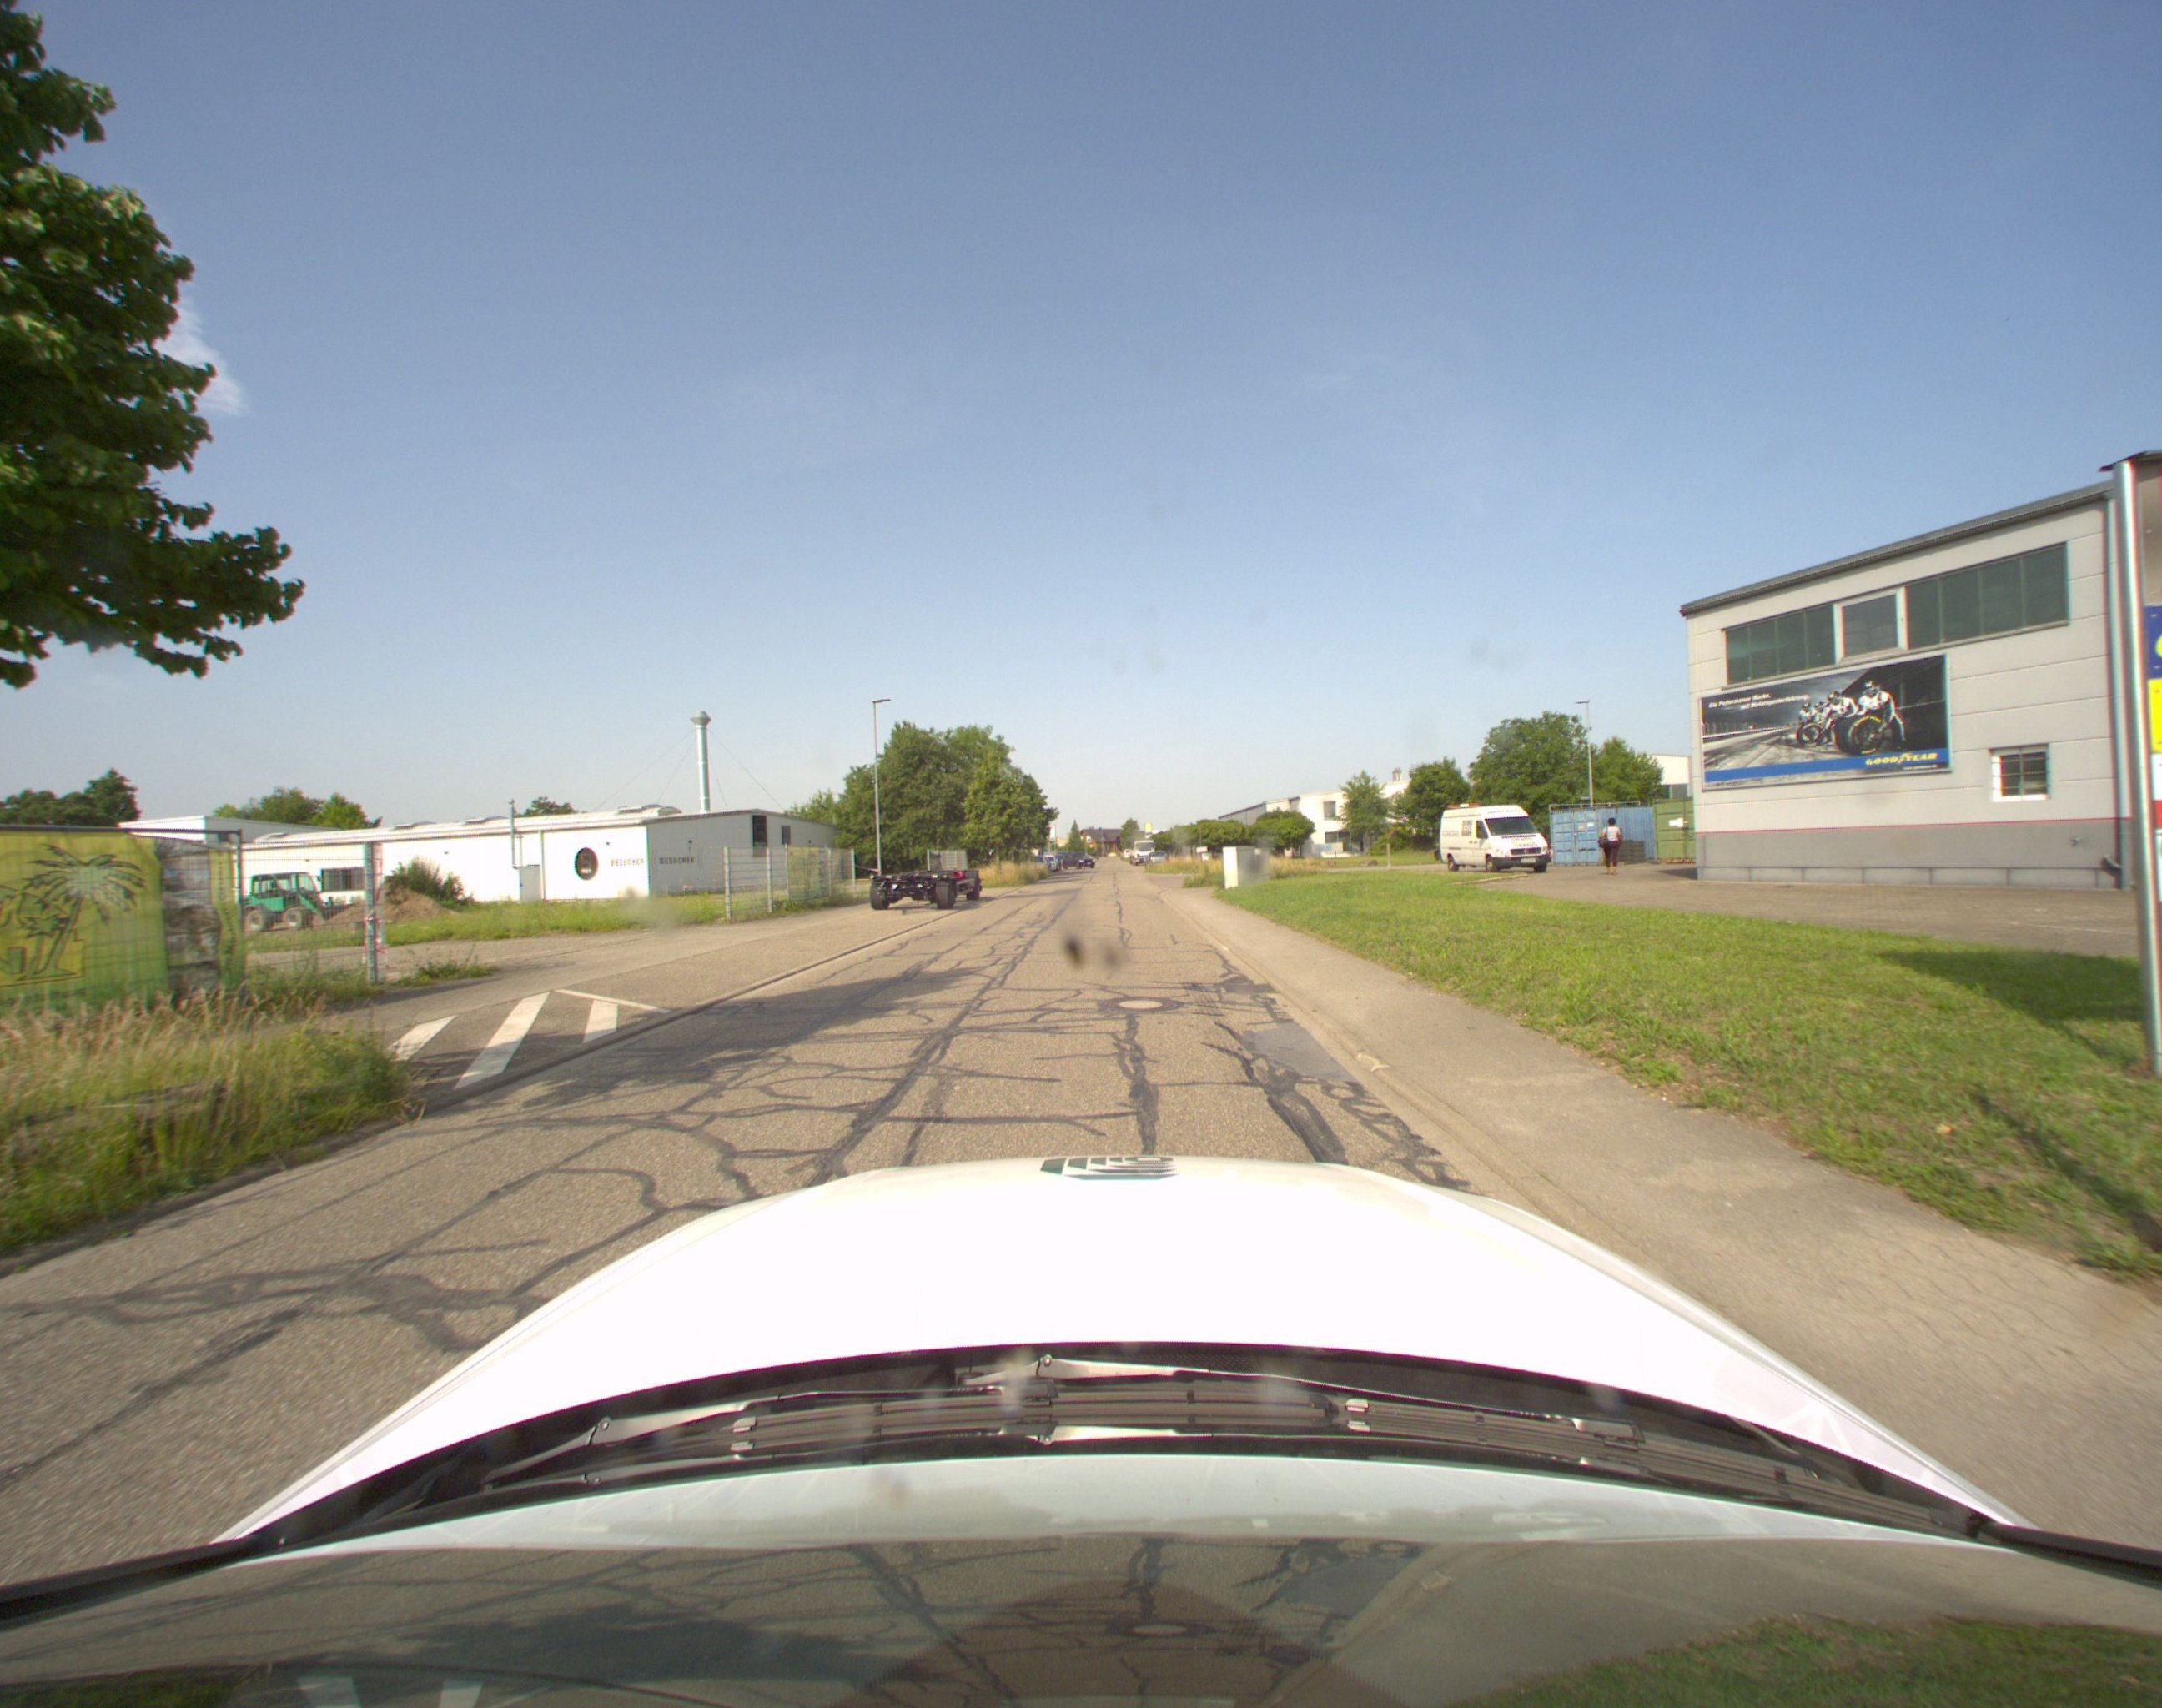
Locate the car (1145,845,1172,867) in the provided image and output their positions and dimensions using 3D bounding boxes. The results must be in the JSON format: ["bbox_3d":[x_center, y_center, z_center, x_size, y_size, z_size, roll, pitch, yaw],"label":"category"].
[{"bbox_3d":[5.996,0.149,63.398,1.787,1.517,4.426,-2,0,2],"label":"car"}]

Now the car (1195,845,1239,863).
[{"bbox_3d":[11.995,-0.022,71.759,3.716,1.380,1.668,-3,0,-38],"label":"car"}]

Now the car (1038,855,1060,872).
[{"bbox_3d":[-2.901,0.816,74.230,1.677,1.469,4.256,-1,0,2],"label":"car"}]

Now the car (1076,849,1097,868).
[{"bbox_3d":[0.595,0.444,83.876,1.848,1.714,4.230,-4,0,3],"label":"car"}]

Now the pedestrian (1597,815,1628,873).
[{"bbox_3d":[15.496,-0.285,23.755,0.695,1.640,0.754,-3,0,33],"label":"pedestrian"}]

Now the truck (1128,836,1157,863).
[{"bbox_3d":[6.514,-0.443,87.011,2.353,2.681,6.507,-2,0,-1],"label":"truck"}]

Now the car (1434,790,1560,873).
[{"bbox_3d":[15.337,-0.778,30.476,1.965,2.705,5.887,-3,0,4],"label":"car"}]

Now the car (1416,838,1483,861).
[{"bbox_3d":[25.205,-0.295,55.854,1.785,1.409,4.324,-3,0,-15],"label":"car"}]

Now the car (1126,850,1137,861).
[{"bbox_3d":[9.273,0.214,149.247,1.830,1.924,3.758,-3,0,2],"label":"car"}]

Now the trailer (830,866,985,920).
[{"bbox_3d":[-5.035,1.090,25.723,2.573,1.184,9.367,-1,0,2],"label":"trailer"}]

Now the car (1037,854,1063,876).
[{"bbox_3d":[-2.444,0.850,64.379,1.559,1.538,3.693,-2,0,5],"label":"car"}]

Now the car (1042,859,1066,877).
[{"bbox_3d":[-2.261,1.174,68.779,1.572,1.443,3.967,-1,0,4],"label":"car"}]
